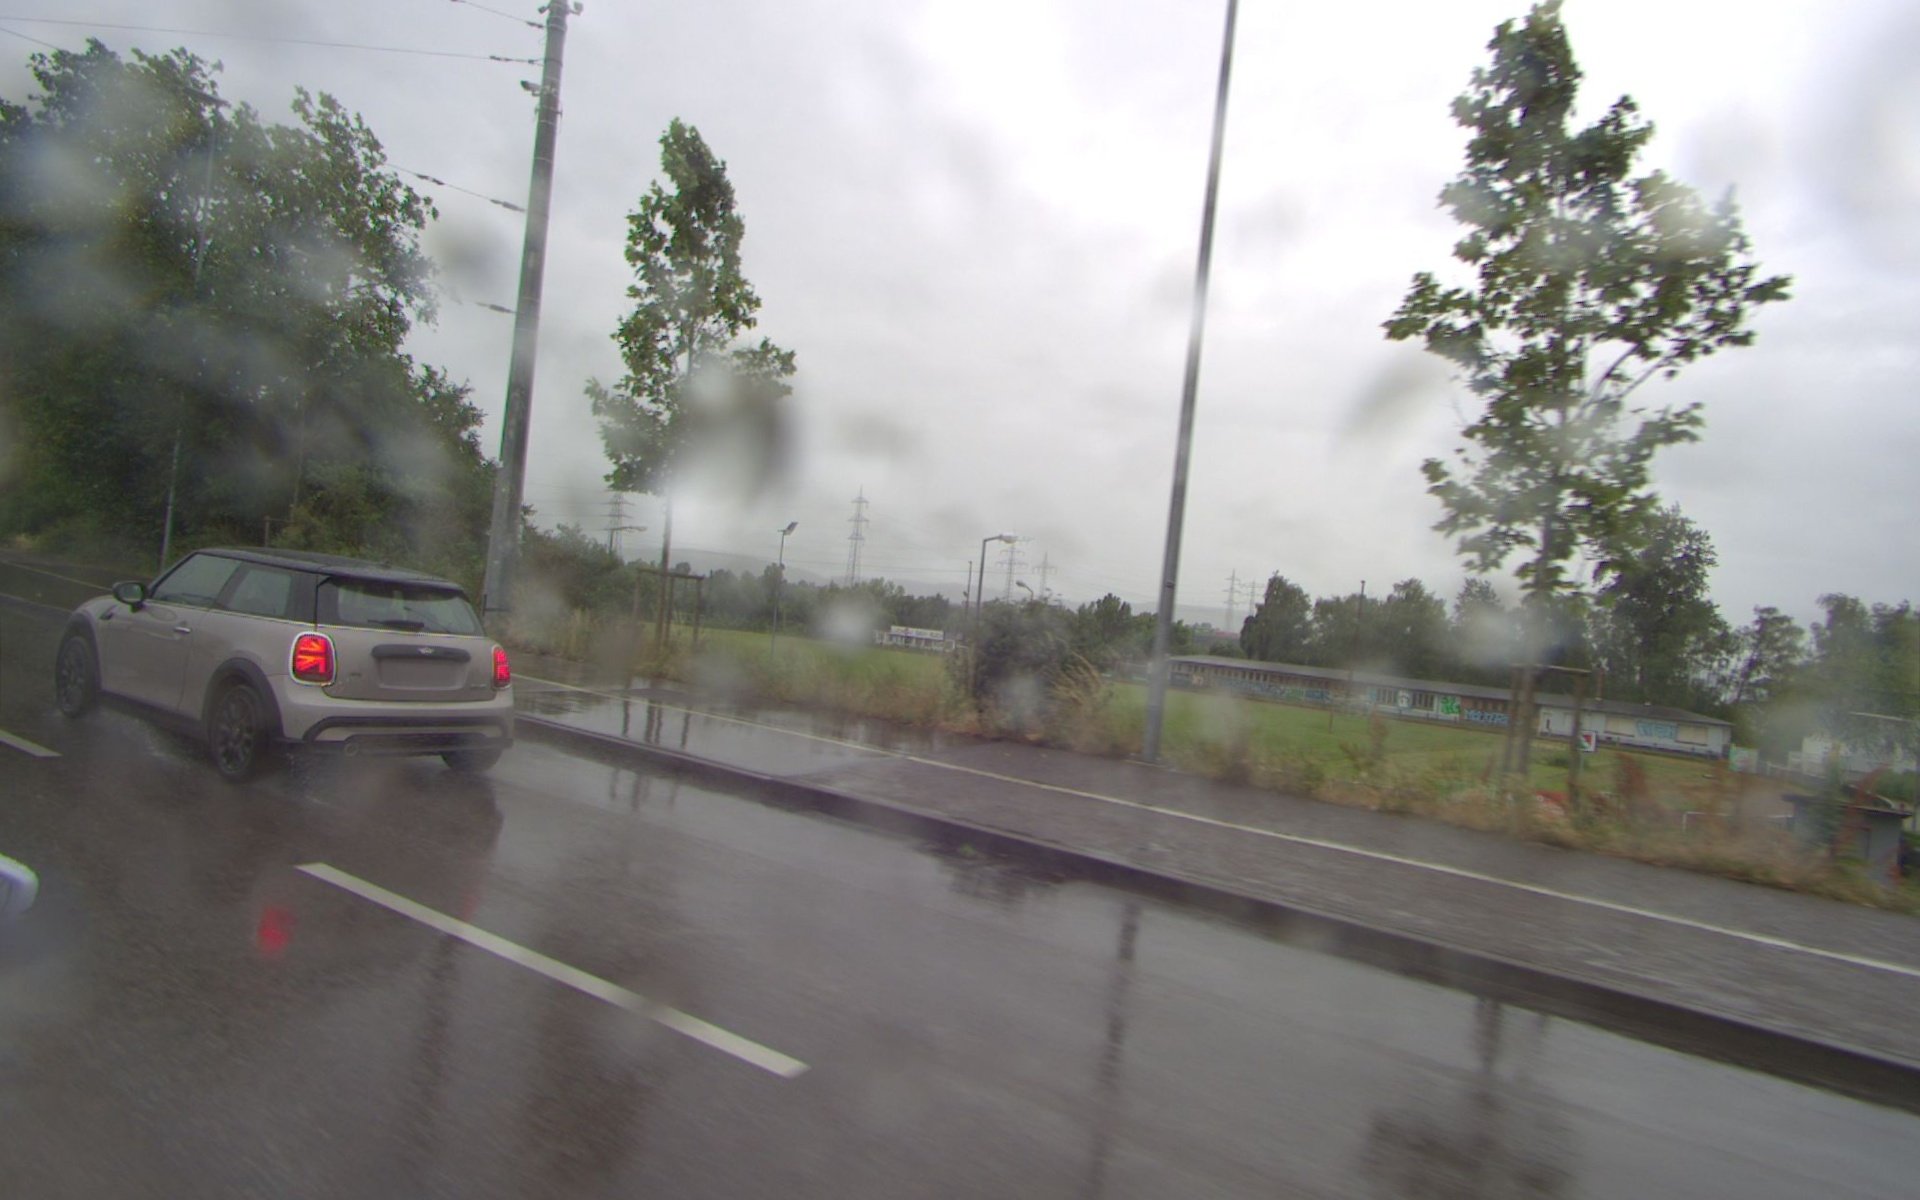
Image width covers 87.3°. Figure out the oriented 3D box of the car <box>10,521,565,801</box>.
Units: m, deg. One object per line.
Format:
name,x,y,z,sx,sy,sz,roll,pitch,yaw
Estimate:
car,-4.977,0.351,7.379,3.789,1.430,1.795,5,-2,30
